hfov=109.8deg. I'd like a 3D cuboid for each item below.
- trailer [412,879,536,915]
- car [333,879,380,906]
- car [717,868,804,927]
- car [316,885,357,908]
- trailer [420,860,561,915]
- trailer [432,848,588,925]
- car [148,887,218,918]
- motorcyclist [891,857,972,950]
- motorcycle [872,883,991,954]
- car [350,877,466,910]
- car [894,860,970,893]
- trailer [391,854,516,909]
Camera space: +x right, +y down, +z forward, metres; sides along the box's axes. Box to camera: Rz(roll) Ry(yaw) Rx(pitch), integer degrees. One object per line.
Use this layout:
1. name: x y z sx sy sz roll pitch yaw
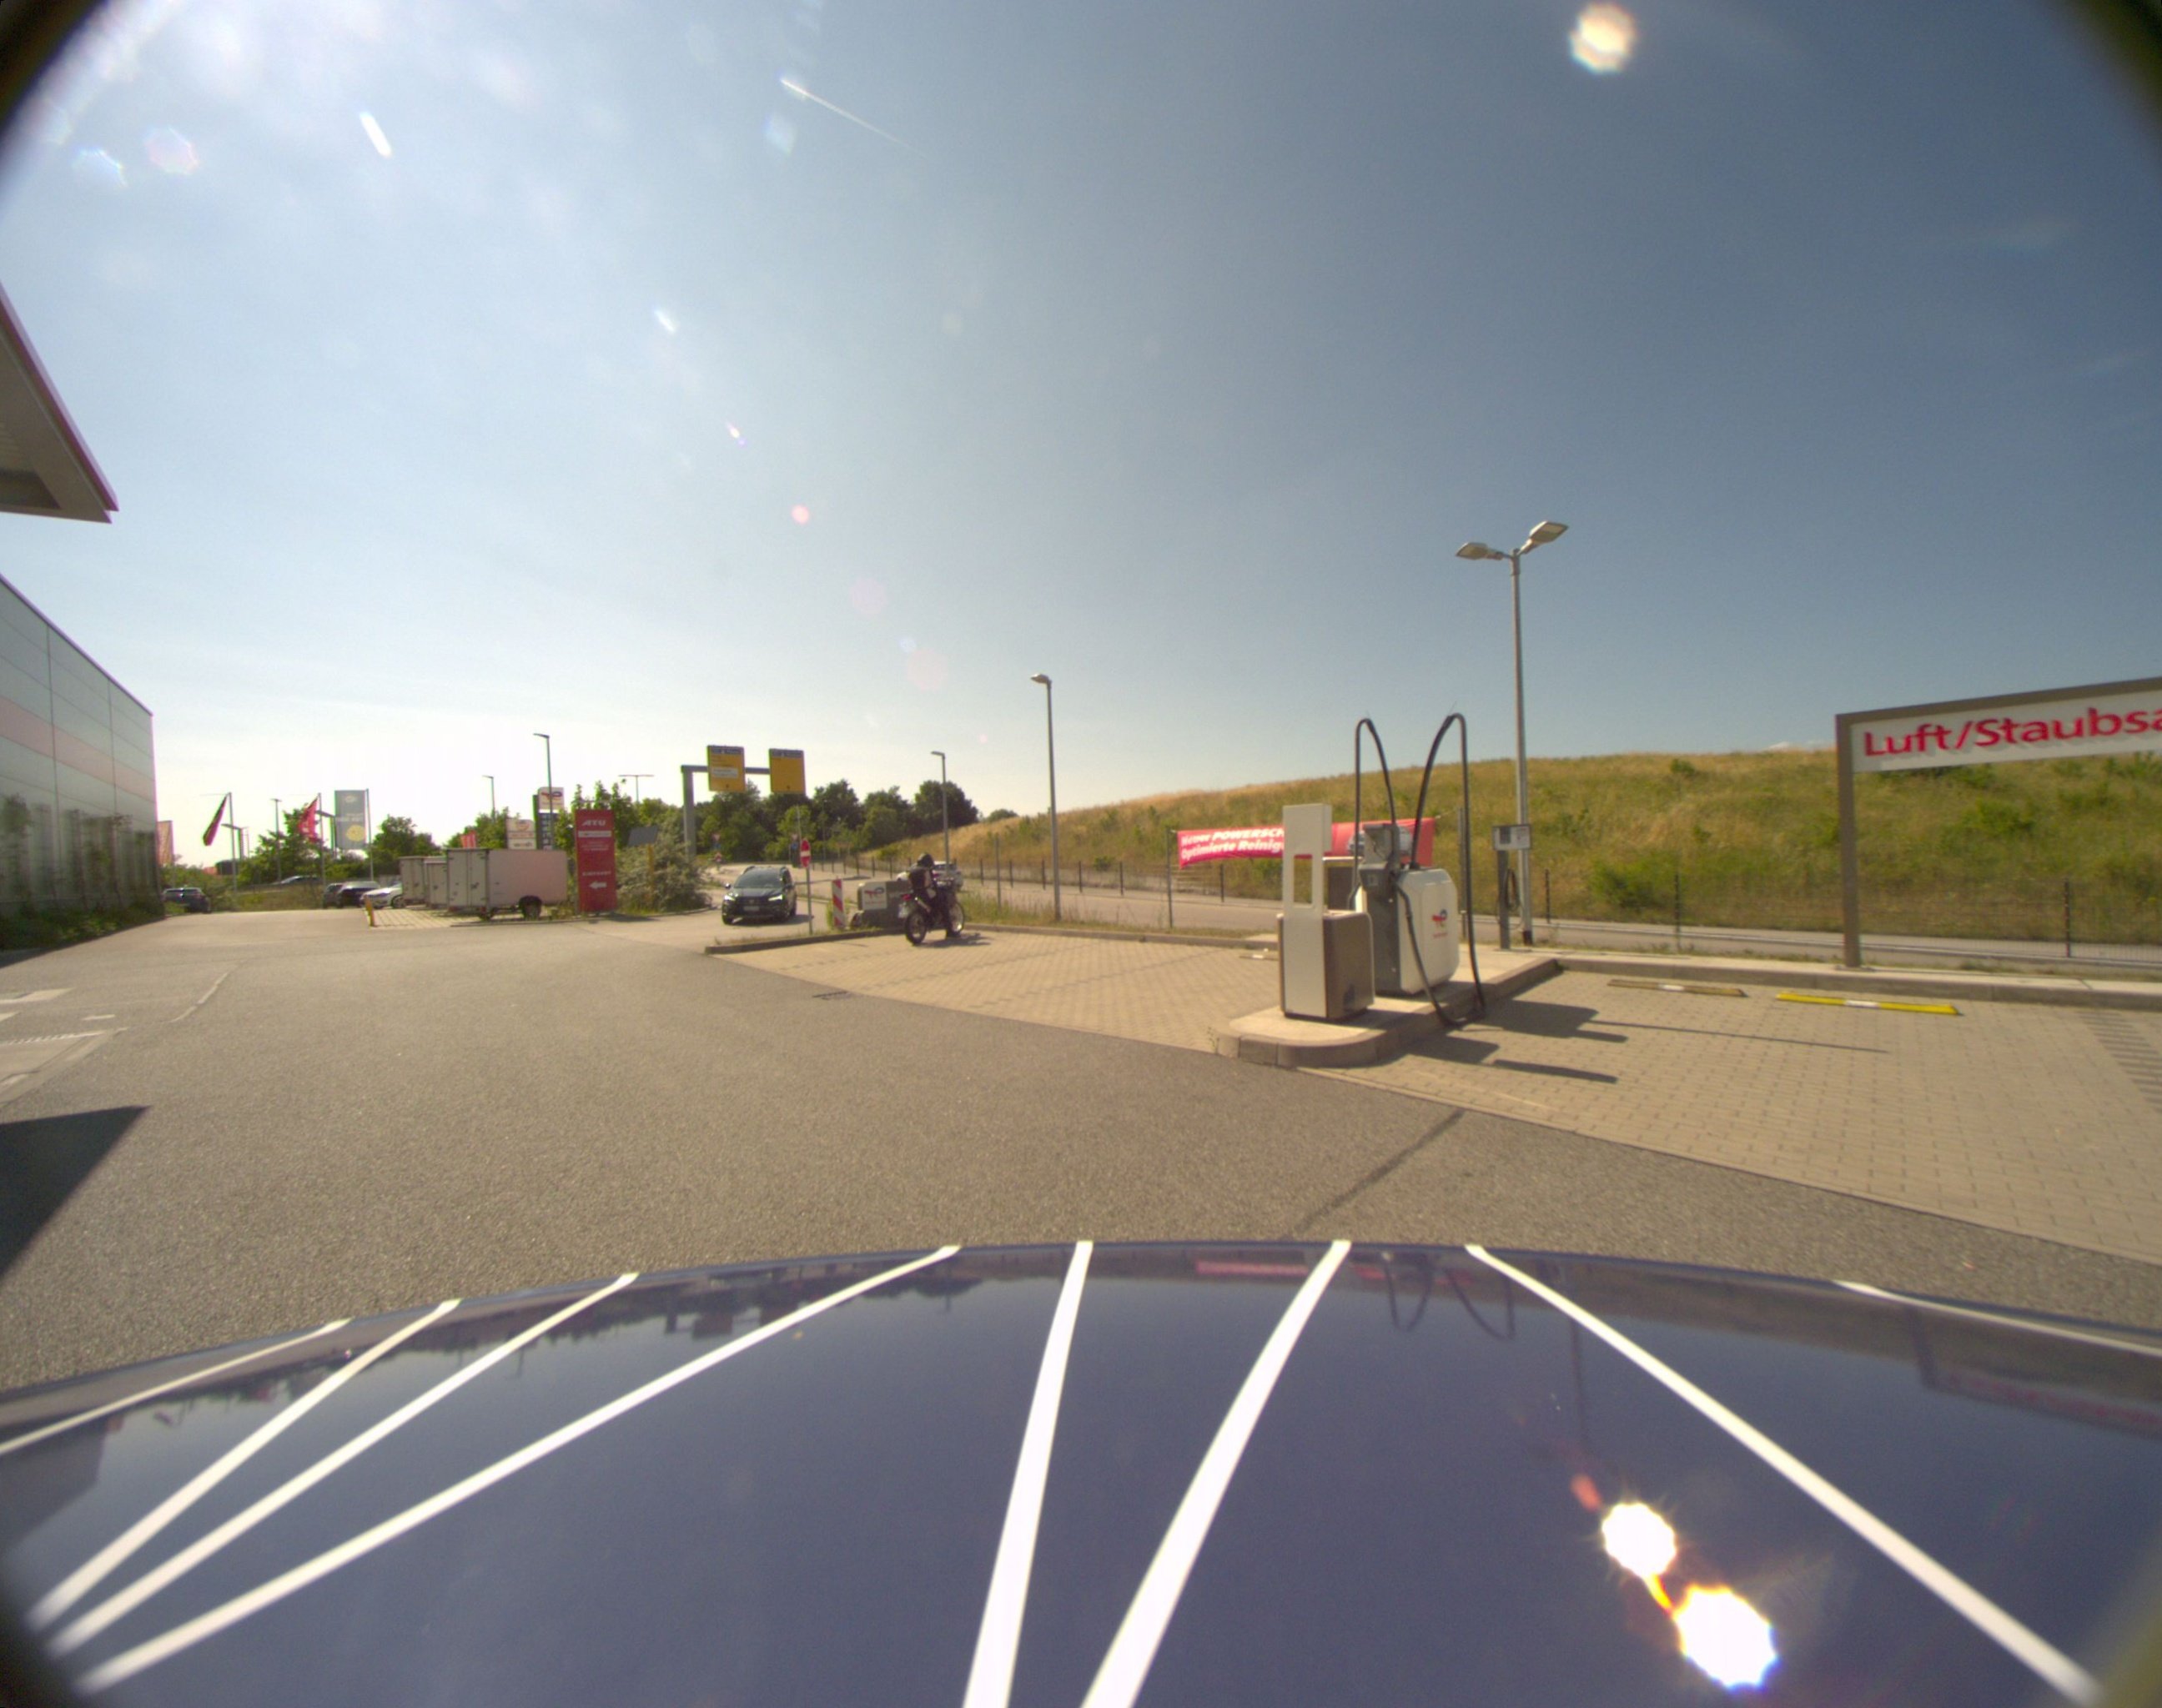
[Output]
1. trailer: -25.352 1.775 31.880 1.575 1.273 3.725 -2 0 22
2. car: -39.261 2.050 41.143 3.825 1.310 1.685 -1 0 45
3. car: -10.048 1.287 24.170 1.744 1.635 4.627 -1 0 -13
4. car: -46.924 2.627 47.952 1.685 1.295 3.715 -1 0 -42
5. trailer: -23.354 1.274 30.216 1.799 2.002 4.006 -1 0 22
6. trailer: -19.573 1.050 26.305 1.997 2.413 4.003 -1 0 9
7. car: -48.062 2.562 40.655 3.825 1.532 1.685 -1 0 29
8. motorcyclist: -2.827 0.905 14.422 1.032 1.678 1.100 -1 0 22
9. motorcycle: -2.784 1.178 14.489 1.043 1.099 2.419 -1 1 22
10. car: -31.765 1.834 36.018 1.678 1.309 3.839 -1 0 13
11. car: -7.167 1.046 36.354 1.710 1.415 4.083 -1 1 -42
12. trailer: -29.309 1.224 35.664 1.996 2.413 4.006 -1 0 19
